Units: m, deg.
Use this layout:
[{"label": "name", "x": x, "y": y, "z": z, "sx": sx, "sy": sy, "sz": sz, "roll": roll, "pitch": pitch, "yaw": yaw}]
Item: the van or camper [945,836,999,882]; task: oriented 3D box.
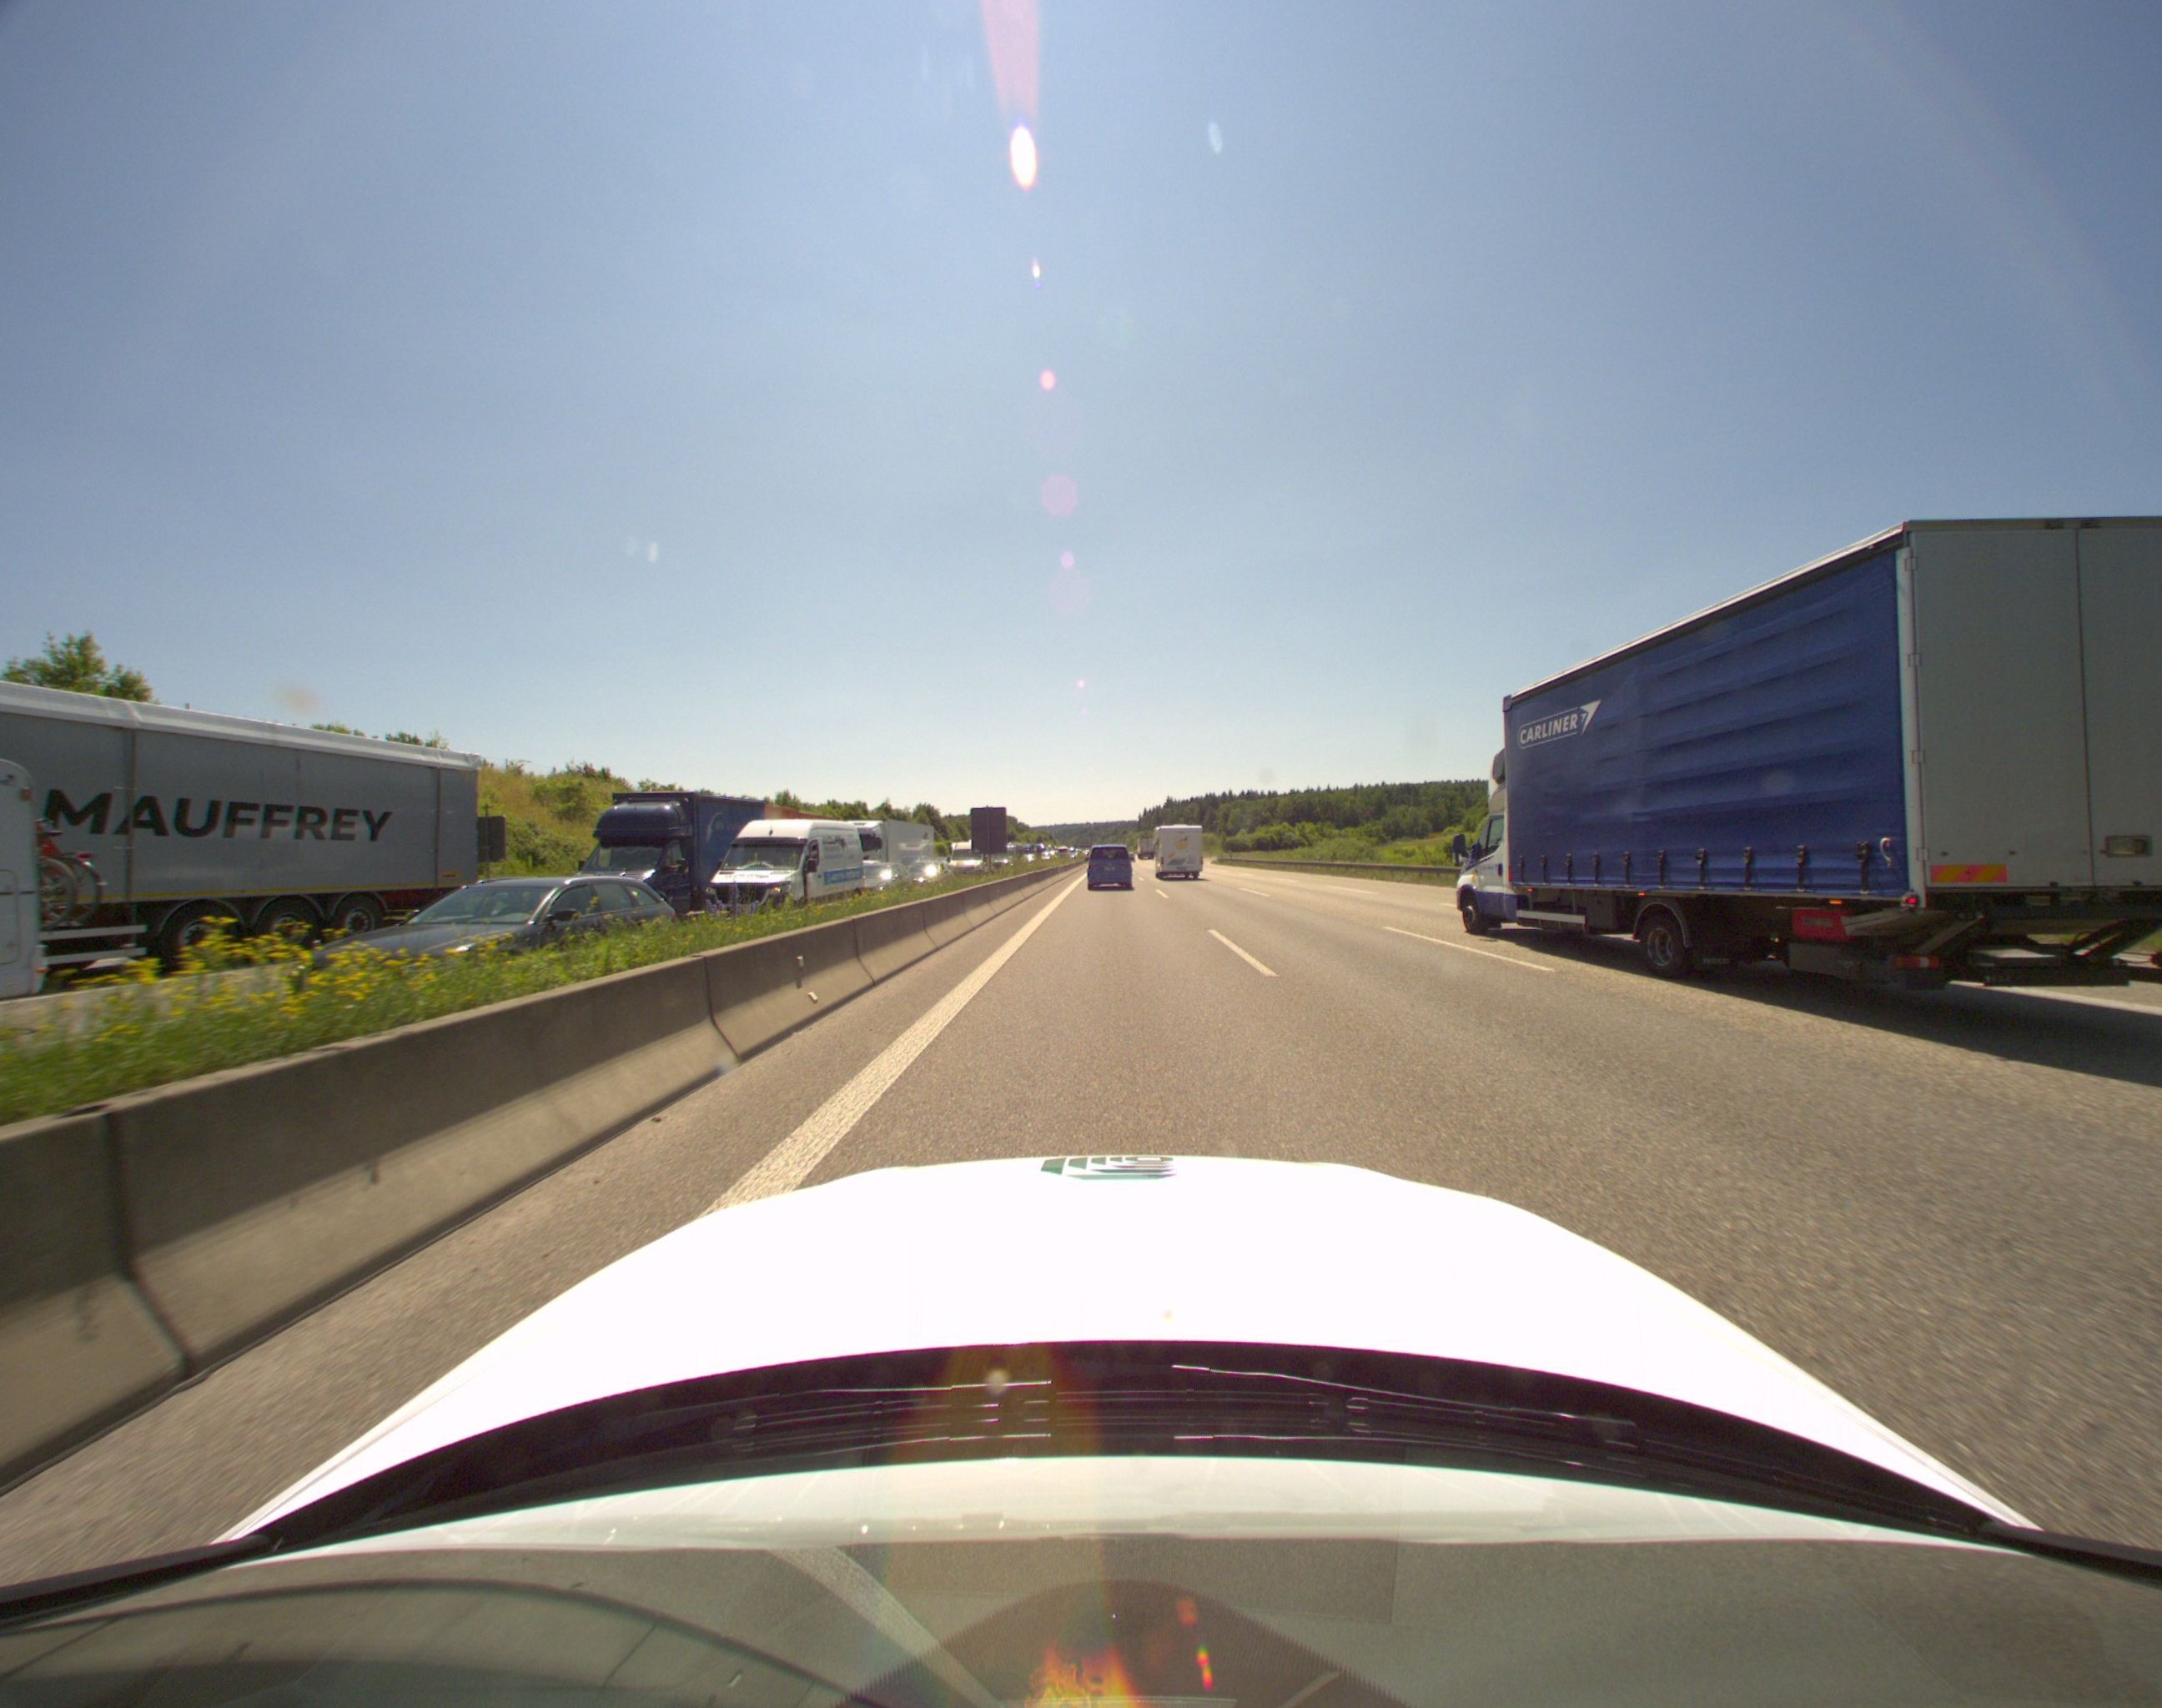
[{"label": "van or camper", "x": -6.341, "y": 0.306, "z": 48.122, "sx": 2.185, "sy": 2.506, "sz": 6.060, "roll": -1, "pitch": 0, "yaw": 1}]

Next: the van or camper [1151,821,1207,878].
[{"label": "van or camper", "x": 5.618, "y": -0.277, "z": 47.605, "sx": 2.593, "sy": 3.078, "sz": 7.185, "roll": 0, "pitch": 1, "yaw": 2}]

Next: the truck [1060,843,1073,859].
[{"label": "truck", "x": -3.736, "y": -0.822, "z": 209.214, "sx": 2.608, "sy": 3.890, "sz": 7.405, "roll": -2, "pitch": 0, "yaw": 2}]

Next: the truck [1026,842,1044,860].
[{"label": "truck", "x": -10.343, "y": -0.672, "z": 184.662, "sx": 3.477, "sy": 4.037, "sz": 6.646, "roll": 0, "pitch": 0, "yaw": 2}]

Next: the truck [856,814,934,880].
[{"label": "truck", "x": -13.297, "y": -0.418, "z": 59.567, "sx": 2.511, "sy": 4.325, "sz": 12.427, "roll": 0, "pitch": 0, "yaw": 2}]

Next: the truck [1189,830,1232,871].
[{"label": "truck", "x": 12.278, "y": -0.355, "z": 77.956, "sx": 2.916, "sy": 3.575, "sz": 8.531, "roll": -2, "pitch": 1, "yaw": 2}]

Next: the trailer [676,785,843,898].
[{"label": "trailer", "x": -14.053, "y": -0.448, "z": 37.146, "sx": 2.602, "sy": 4.310, "sz": 12.004, "roll": 0, "pitch": 0, "yaw": 1}]

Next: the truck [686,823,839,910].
[{"label": "truck", "x": -10.387, "y": 0.390, "z": 27.384, "sx": 2.226, "sy": 2.505, "sz": 6.864, "roll": -1, "pitch": 0, "yaw": 1}]

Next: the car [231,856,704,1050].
[{"label": "car", "x": -6.642, "y": 0.898, "z": 9.762, "sx": 1.805, "sy": 1.730, "sz": 4.937, "roll": 0, "pitch": 0, "yaw": 2}]

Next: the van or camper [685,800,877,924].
[{"label": "van or camper", "x": -7.076, "y": 0.186, "z": 20.232, "sx": 2.185, "sy": 2.541, "sz": 6.418, "roll": -1, "pitch": 0, "yaw": 1}]

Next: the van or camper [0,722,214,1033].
[{"label": "van or camper", "x": -11.270, "y": 0.218, "z": 5.864, "sx": 2.143, "sy": 2.923, "sz": 7.227, "roll": 0, "pitch": 0, "yaw": 2}]

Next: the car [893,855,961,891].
[{"label": "car", "x": -6.460, "y": 0.764, "z": 34.651, "sx": 1.812, "sy": 1.408, "sz": 4.884, "roll": -1, "pitch": 0, "yaw": 1}]

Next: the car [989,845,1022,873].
[{"label": "car", "x": -5.634, "y": 0.341, "z": 61.066, "sx": 1.986, "sy": 2.013, "sz": 4.002, "roll": -1, "pitch": 0, "yaw": 2}]

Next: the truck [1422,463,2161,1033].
[{"label": "truck", "x": 7.805, "y": -0.754, "z": 10.771, "sx": 2.772, "sy": 4.128, "sz": 9.744, "roll": 0, "pitch": 0, "yaw": 2}]

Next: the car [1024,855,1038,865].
[{"label": "car", "x": -7.588, "y": 0.884, "z": 124.333, "sx": 1.747, "sy": 1.550, "sz": 4.191, "roll": 0, "pitch": 0, "yaw": 2}]

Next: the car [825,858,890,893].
[{"label": "car", "x": -10.198, "y": 0.957, "z": 37.489, "sx": 1.725, "sy": 1.465, "sz": 4.115, "roll": -1, "pitch": 0, "yaw": 1}]

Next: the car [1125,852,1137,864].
[{"label": "car", "x": 7.905, "y": 0.619, "z": 129.295, "sx": 1.811, "sy": 1.794, "sz": 3.896, "roll": 0, "pitch": 0, "yaw": 2}]

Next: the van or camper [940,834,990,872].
[{"label": "van or camper", "x": -9.653, "y": -0.077, "z": 68.413, "sx": 2.534, "sy": 2.937, "sz": 7.834, "roll": -1, "pitch": 0, "yaw": 3}]

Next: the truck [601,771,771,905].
[{"label": "truck", "x": -14.212, "y": -0.496, "z": 30.080, "sx": 2.580, "sy": 4.325, "sz": 7.294, "roll": 0, "pitch": 0, "yaw": 1}]

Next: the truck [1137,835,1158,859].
[{"label": "truck", "x": 12.133, "y": -1.268, "z": 149.832, "sx": 3.474, "sy": 4.170, "sz": 8.645, "roll": 0, "pitch": 0, "yaw": 2}]

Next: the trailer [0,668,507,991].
[{"label": "trailer", "x": -14.793, "y": -0.290, "z": 12.615, "sx": 2.770, "sy": 4.034, "sz": 12.256, "roll": 0, "pitch": 0, "yaw": 2}]

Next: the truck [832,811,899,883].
[{"label": "truck", "x": -13.595, "y": -0.402, "z": 51.815, "sx": 2.510, "sy": 4.325, "sz": 5.669, "roll": 0, "pitch": 0, "yaw": 2}]

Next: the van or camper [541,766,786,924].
[{"label": "van or camper", "x": -10.510, "y": -0.189, "z": 21.616, "sx": 2.304, "sy": 3.390, "sz": 7.682, "roll": -1, "pitch": 0, "yaw": 1}]

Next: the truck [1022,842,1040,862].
[{"label": "truck", "x": -9.881, "y": -0.355, "z": 160.745, "sx": 2.535, "sy": 3.674, "sz": 9.942, "roll": -1, "pitch": 0, "yaw": 2}]

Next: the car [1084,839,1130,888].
[{"label": "car", "x": 1.118, "y": 0.383, "z": 35.261, "sx": 1.902, "sy": 2.013, "sz": 4.001, "roll": 0, "pitch": 0, "yaw": 2}]

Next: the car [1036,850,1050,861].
[{"label": "car", "x": -6.843, "y": 0.275, "z": 148.179, "sx": 2.016, "sy": 1.958, "sz": 5.096, "roll": -1, "pitch": 0, "yaw": 2}]

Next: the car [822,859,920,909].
[{"label": "car", "x": -6.691, "y": 0.908, "z": 26.486, "sx": 1.895, "sy": 1.408, "sz": 4.432, "roll": -1, "pitch": 0, "yaw": 1}]
